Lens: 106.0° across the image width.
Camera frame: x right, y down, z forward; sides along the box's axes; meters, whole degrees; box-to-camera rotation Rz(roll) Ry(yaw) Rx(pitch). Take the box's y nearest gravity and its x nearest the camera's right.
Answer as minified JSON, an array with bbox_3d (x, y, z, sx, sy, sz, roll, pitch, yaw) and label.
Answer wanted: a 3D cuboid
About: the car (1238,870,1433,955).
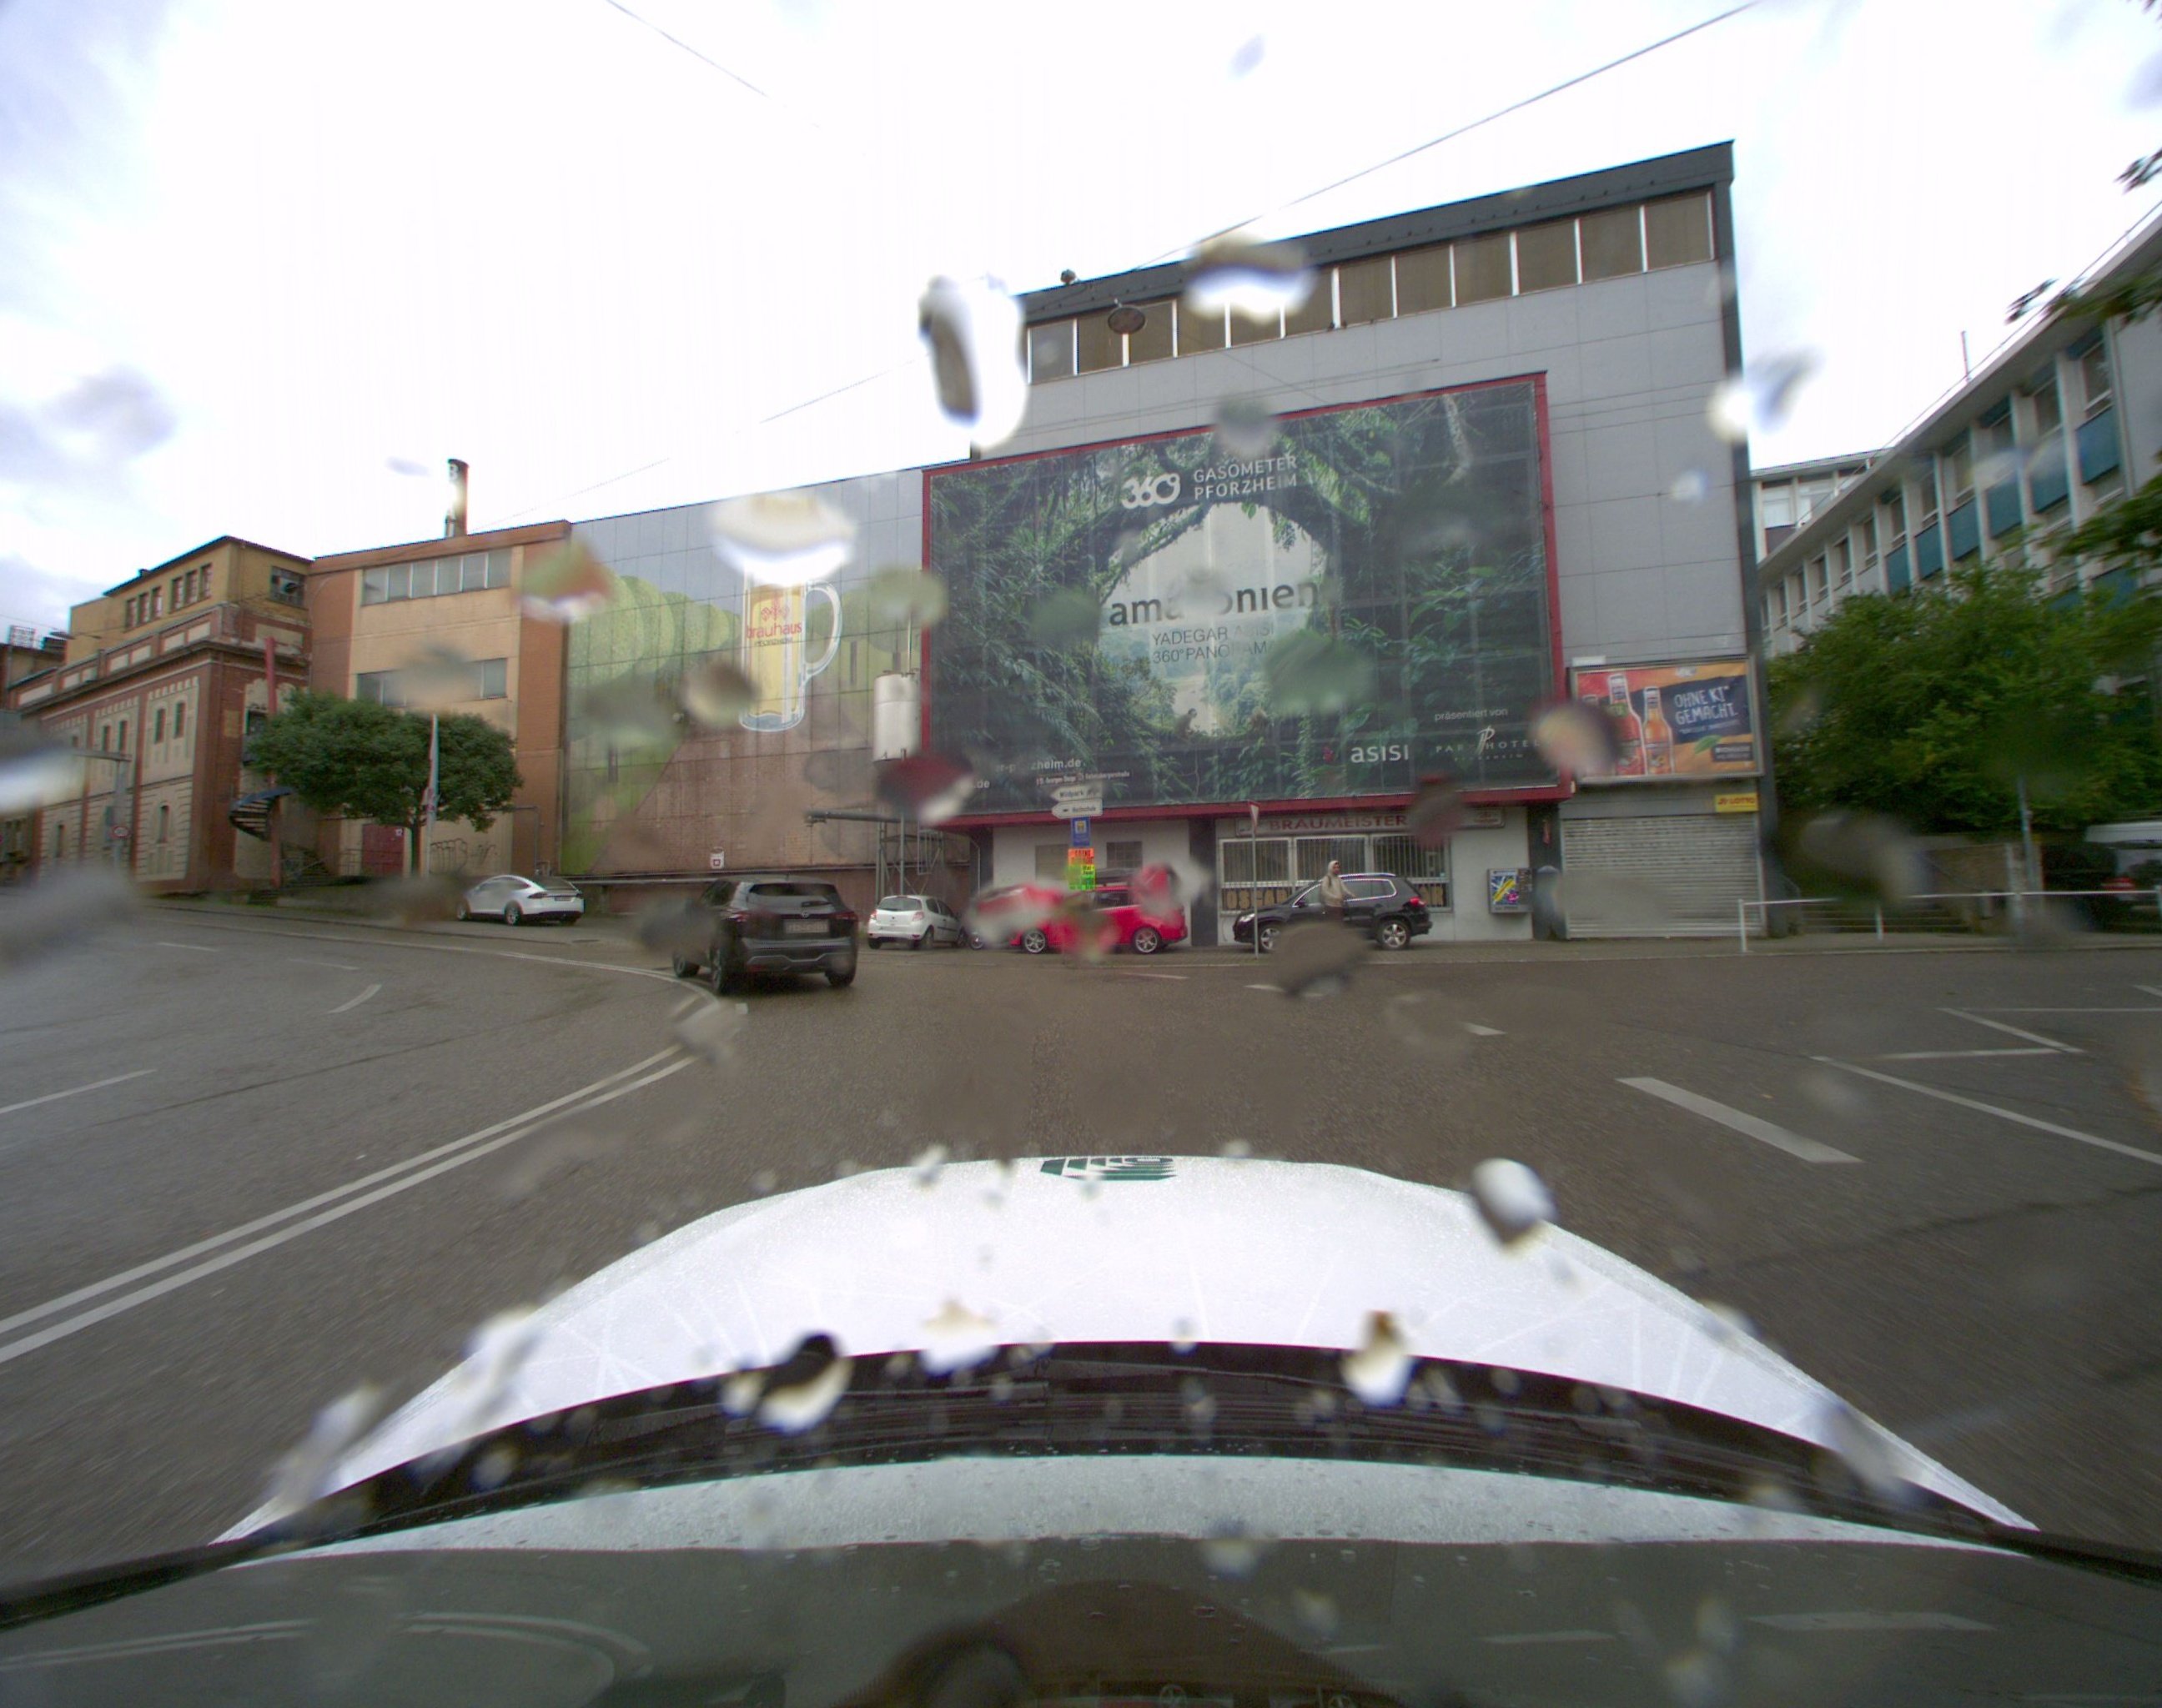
[{"bbox_3d":[5.720,1.315,18.600,3.957,1.712,1.940,-3,-3,15],"label":"car"}]

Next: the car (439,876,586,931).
[{"bbox_3d":[-19.553,1.652,28.000,4.855,1.618,1.869,1,-2,25],"label":"car"}]

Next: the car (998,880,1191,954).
[{"bbox_3d":[0.384,1.566,20.359,4.444,1.712,1.940,-2,-3,15],"label":"car"}]

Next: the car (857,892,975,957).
[{"bbox_3d":[-4.614,1.955,23.393,1.857,1.533,4.006,-1,-1,12],"label":"car"}]

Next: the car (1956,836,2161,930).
[{"bbox_3d":[20.479,0.555,16.594,1.862,1.693,4.019,-4,-3,19],"label":"car"}]

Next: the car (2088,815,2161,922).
[{"bbox_3d":[22.801,0.224,15.664,1.862,2.211,4.915,-4,-3,19],"label":"car"}]

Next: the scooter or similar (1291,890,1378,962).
[{"bbox_3d":[4.998,1.397,16.112,0.809,1.323,1.391,0,-3,-42],"label":"scooter or similar"}]

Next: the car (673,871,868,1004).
[{"bbox_3d":[-4.720,1.097,12.035,1.894,1.594,3.879,1,-2,-33],"label":"car"}]

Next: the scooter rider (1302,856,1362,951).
[{"bbox_3d":[4.971,0.965,16.133,0.809,1.821,0.772,0,-3,-43],"label":"scooter rider"}]

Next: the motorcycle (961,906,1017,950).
[{"bbox_3d":[-2.458,1.969,21.728,1.413,1.161,0.452,-1,-4,2],"label":"motorcycle"}]
